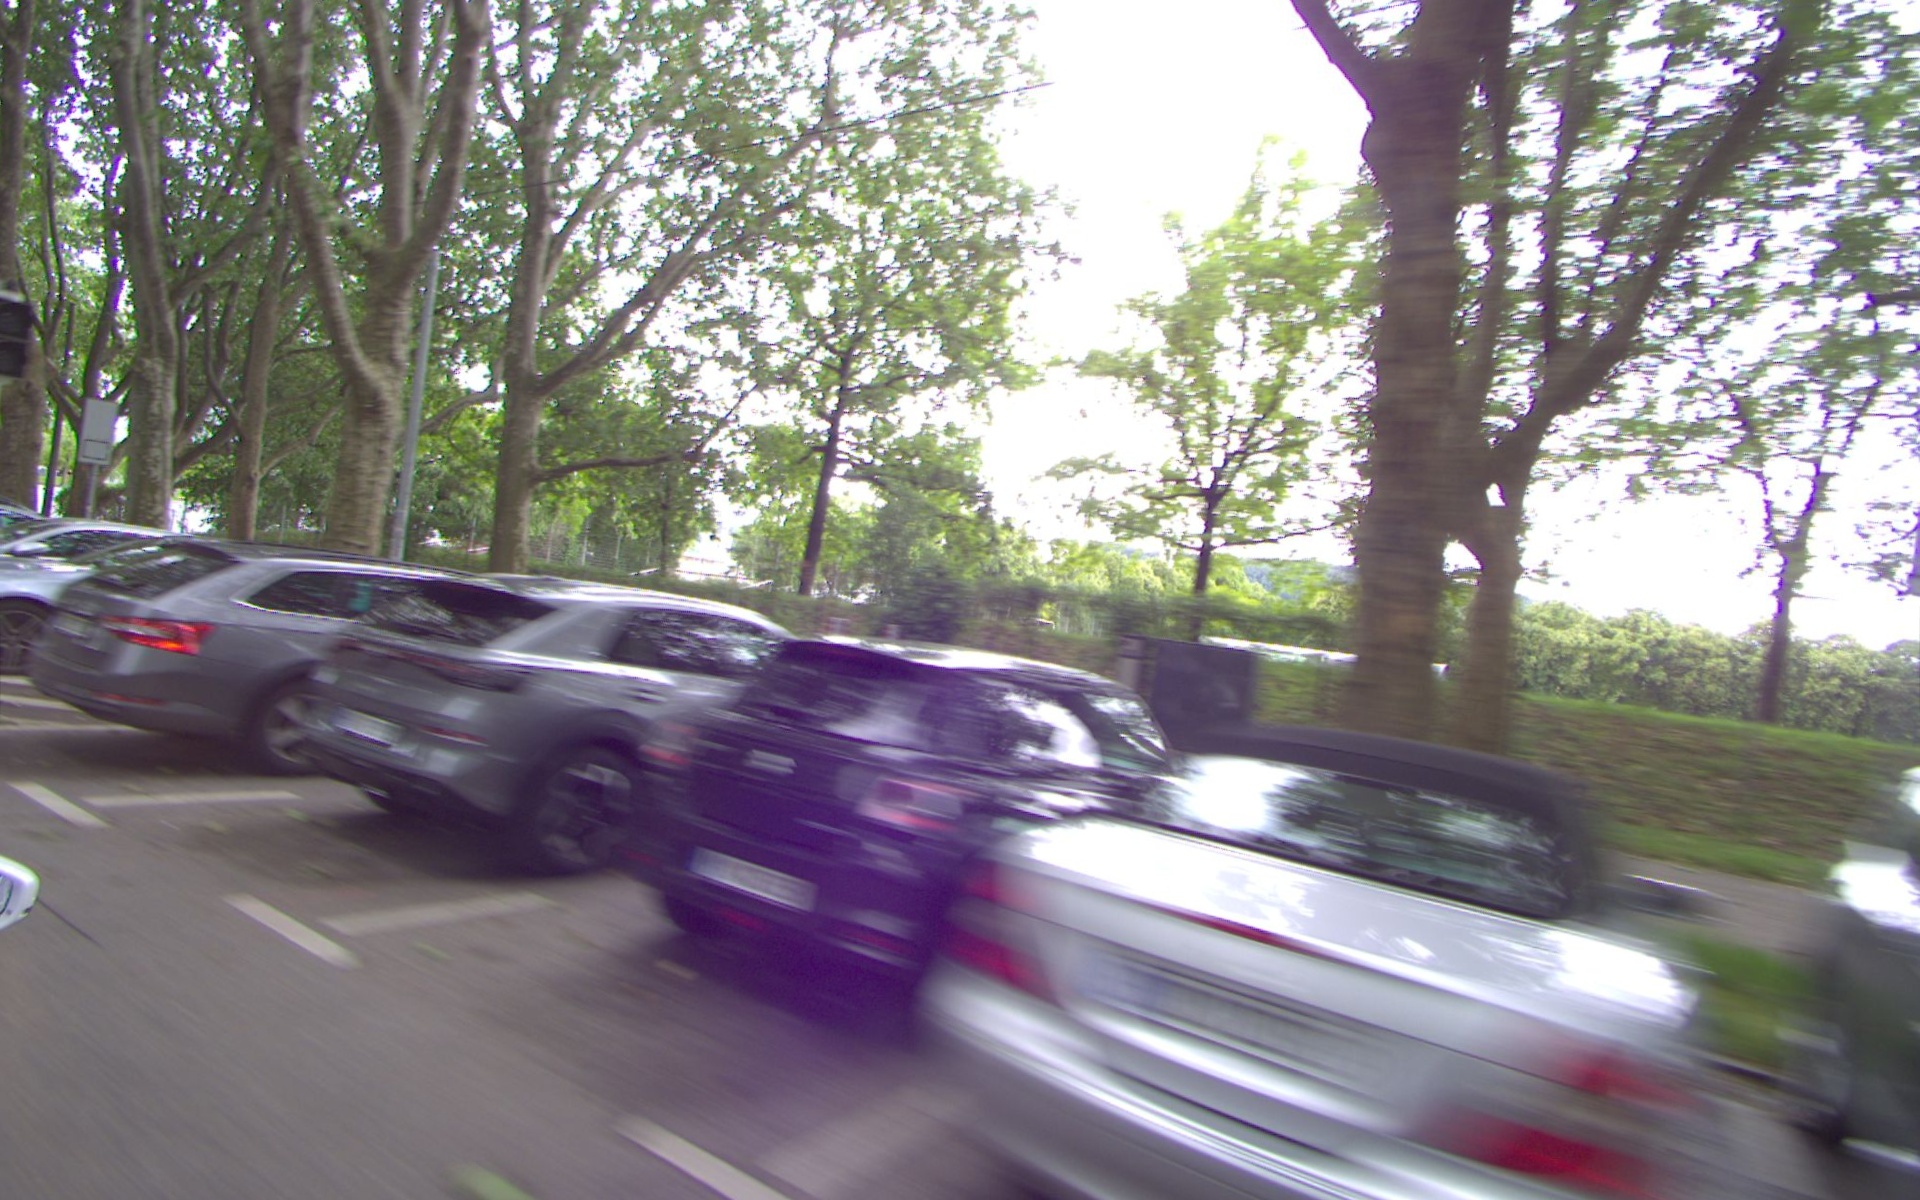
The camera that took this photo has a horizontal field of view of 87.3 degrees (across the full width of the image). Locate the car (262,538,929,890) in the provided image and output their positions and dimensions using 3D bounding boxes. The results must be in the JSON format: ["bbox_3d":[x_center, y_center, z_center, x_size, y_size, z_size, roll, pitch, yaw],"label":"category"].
[{"bbox_3d":[-1.995,0.696,6.592,1.639,1.486,3.784,7,-3,31],"label":"car"}]

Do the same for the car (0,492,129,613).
[{"bbox_3d":[-14.823,-0.891,14.559,1.789,1.615,3.787,7,-2,29],"label":"car"}]

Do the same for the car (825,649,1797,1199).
[{"bbox_3d":[1.519,1.171,3.694,1.666,1.486,4.122,7,-3,32],"label":"car"}]

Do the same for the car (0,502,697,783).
[{"bbox_3d":[-4.326,0.435,7.876,1.597,1.486,4.377,7,-2,31],"label":"car"}]

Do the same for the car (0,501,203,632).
[{"bbox_3d":[-12.649,-0.555,13.286,1.596,1.486,3.787,7,-2,29],"label":"car"}]

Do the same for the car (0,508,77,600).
[{"bbox_3d":[-16.568,-0.957,15.806,1.493,1.386,3.656,7,-2,29],"label":"car"}]

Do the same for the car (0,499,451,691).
[{"bbox_3d":[-7.990,-0.006,10.362,1.622,1.486,4.625,7,-3,31],"label":"car"}]

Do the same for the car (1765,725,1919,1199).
[{"bbox_3d":[3.494,1.289,2.515,1.666,1.688,4.122,7,-2,32],"label":"car"}]

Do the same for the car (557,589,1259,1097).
[{"bbox_3d":[0.128,0.988,5.251,1.597,1.486,3.783,7,-3,33],"label":"car"}]

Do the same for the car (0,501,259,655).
[{"bbox_3d":[-10.698,-0.350,11.251,1.596,1.486,4.310,7,-2,29],"label":"car"}]
